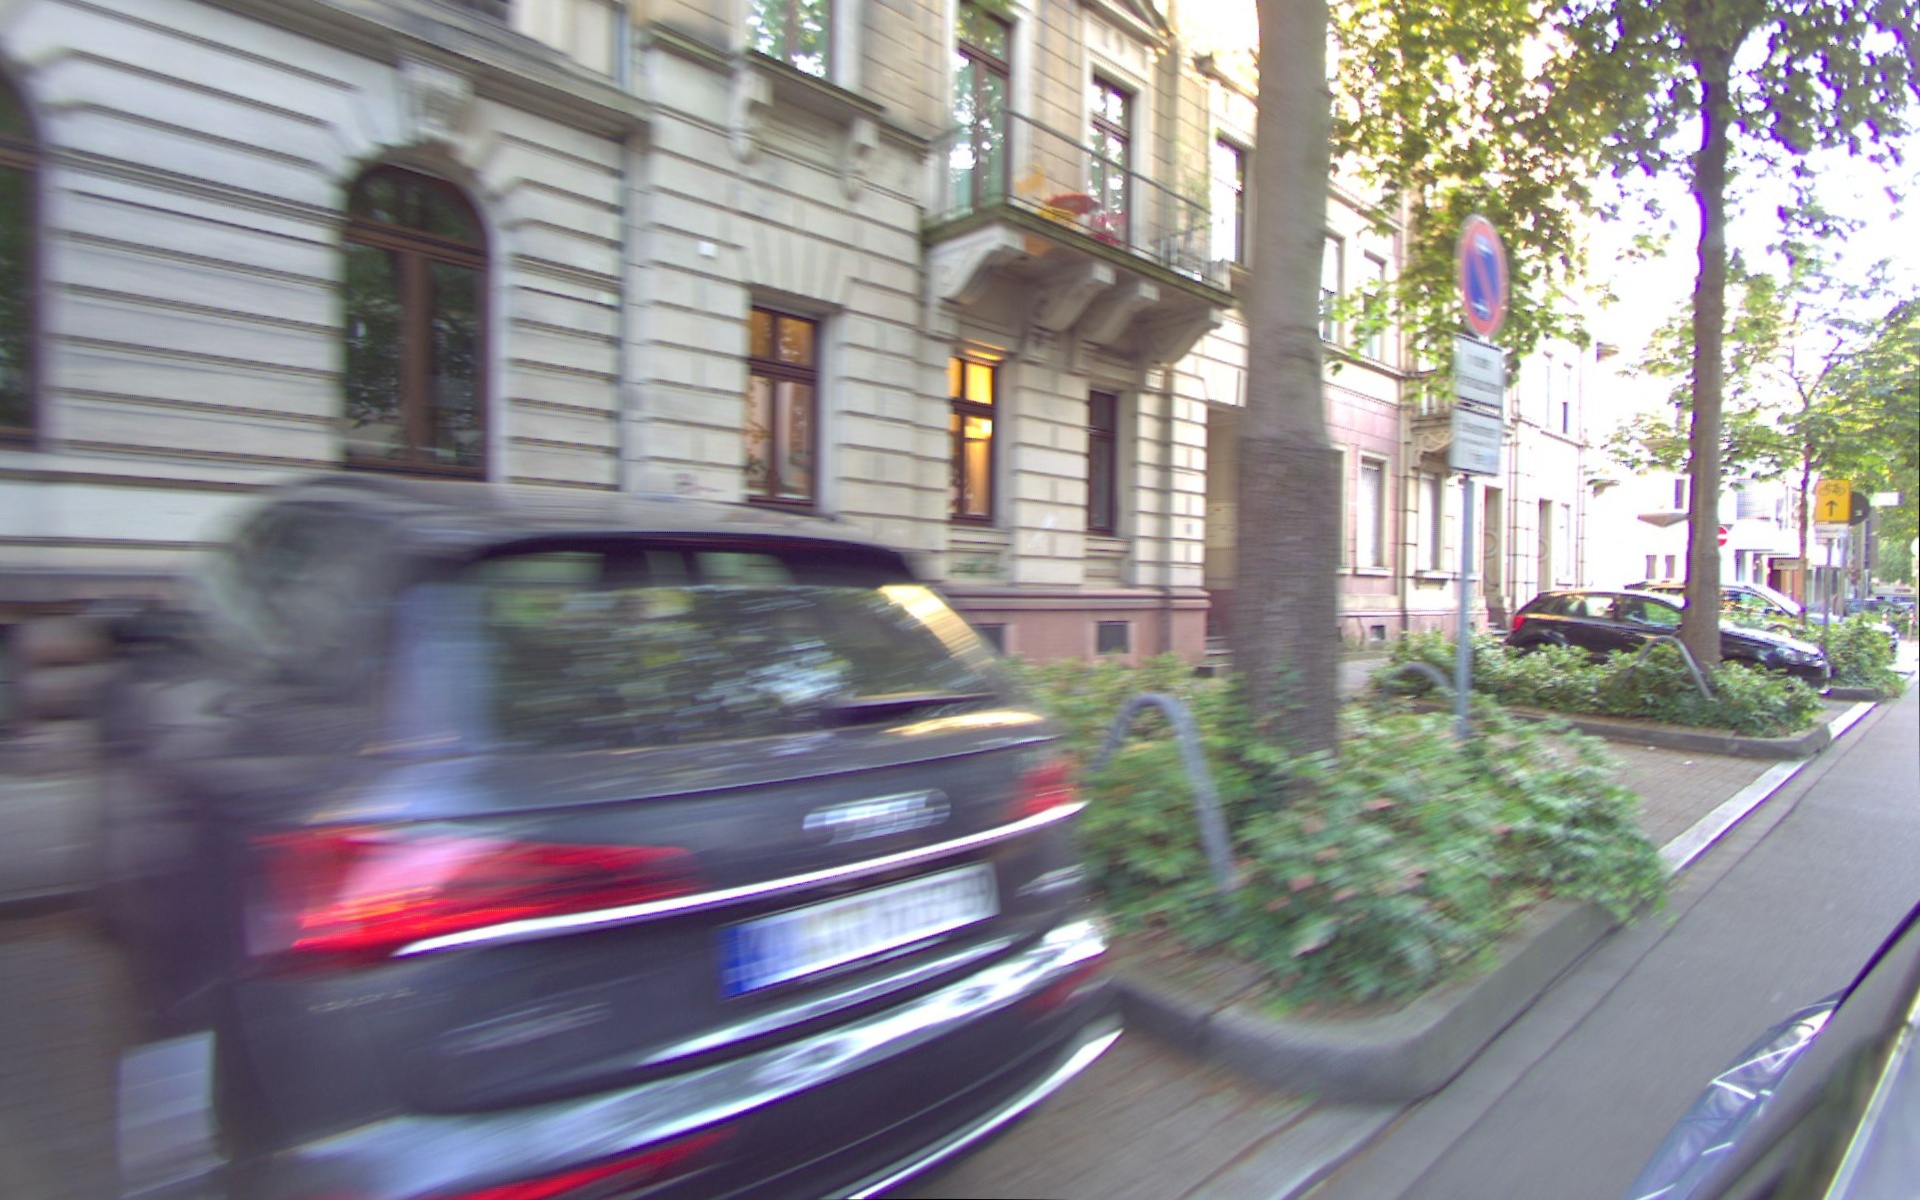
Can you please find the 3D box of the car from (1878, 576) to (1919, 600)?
[{"bbox_3d":[60.466,-0.749,63.909,1.564,1.438,3.546,0,-2,-43],"label":"car"}]

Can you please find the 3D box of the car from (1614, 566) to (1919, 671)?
[{"bbox_3d":[15.593,0.278,19.656,1.831,1.580,4.429,1,3,-36],"label":"car"}]

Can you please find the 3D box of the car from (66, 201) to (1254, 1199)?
[{"bbox_3d":[-1.551,0.371,3.297,1.935,1.738,4.446,-1,3,-43],"label":"car"}]

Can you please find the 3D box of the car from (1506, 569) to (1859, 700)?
[{"bbox_3d":[10.345,0.396,14.688,1.752,1.445,3.870,1,4,-44],"label":"car"}]

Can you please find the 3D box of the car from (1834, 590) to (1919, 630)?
[{"bbox_3d":[40.358,0.431,43.404,1.564,1.697,4.159,0,-2,-43],"label":"car"}]

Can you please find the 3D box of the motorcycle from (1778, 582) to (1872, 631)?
[{"bbox_3d":[28.441,0.198,33.322,2.229,1.565,0.765,0,0,32],"label":"motorcycle"}]

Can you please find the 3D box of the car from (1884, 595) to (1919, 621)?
[{"bbox_3d":[55.154,0.431,57.692,1.564,1.438,3.546,0,-2,-43],"label":"car"}]
